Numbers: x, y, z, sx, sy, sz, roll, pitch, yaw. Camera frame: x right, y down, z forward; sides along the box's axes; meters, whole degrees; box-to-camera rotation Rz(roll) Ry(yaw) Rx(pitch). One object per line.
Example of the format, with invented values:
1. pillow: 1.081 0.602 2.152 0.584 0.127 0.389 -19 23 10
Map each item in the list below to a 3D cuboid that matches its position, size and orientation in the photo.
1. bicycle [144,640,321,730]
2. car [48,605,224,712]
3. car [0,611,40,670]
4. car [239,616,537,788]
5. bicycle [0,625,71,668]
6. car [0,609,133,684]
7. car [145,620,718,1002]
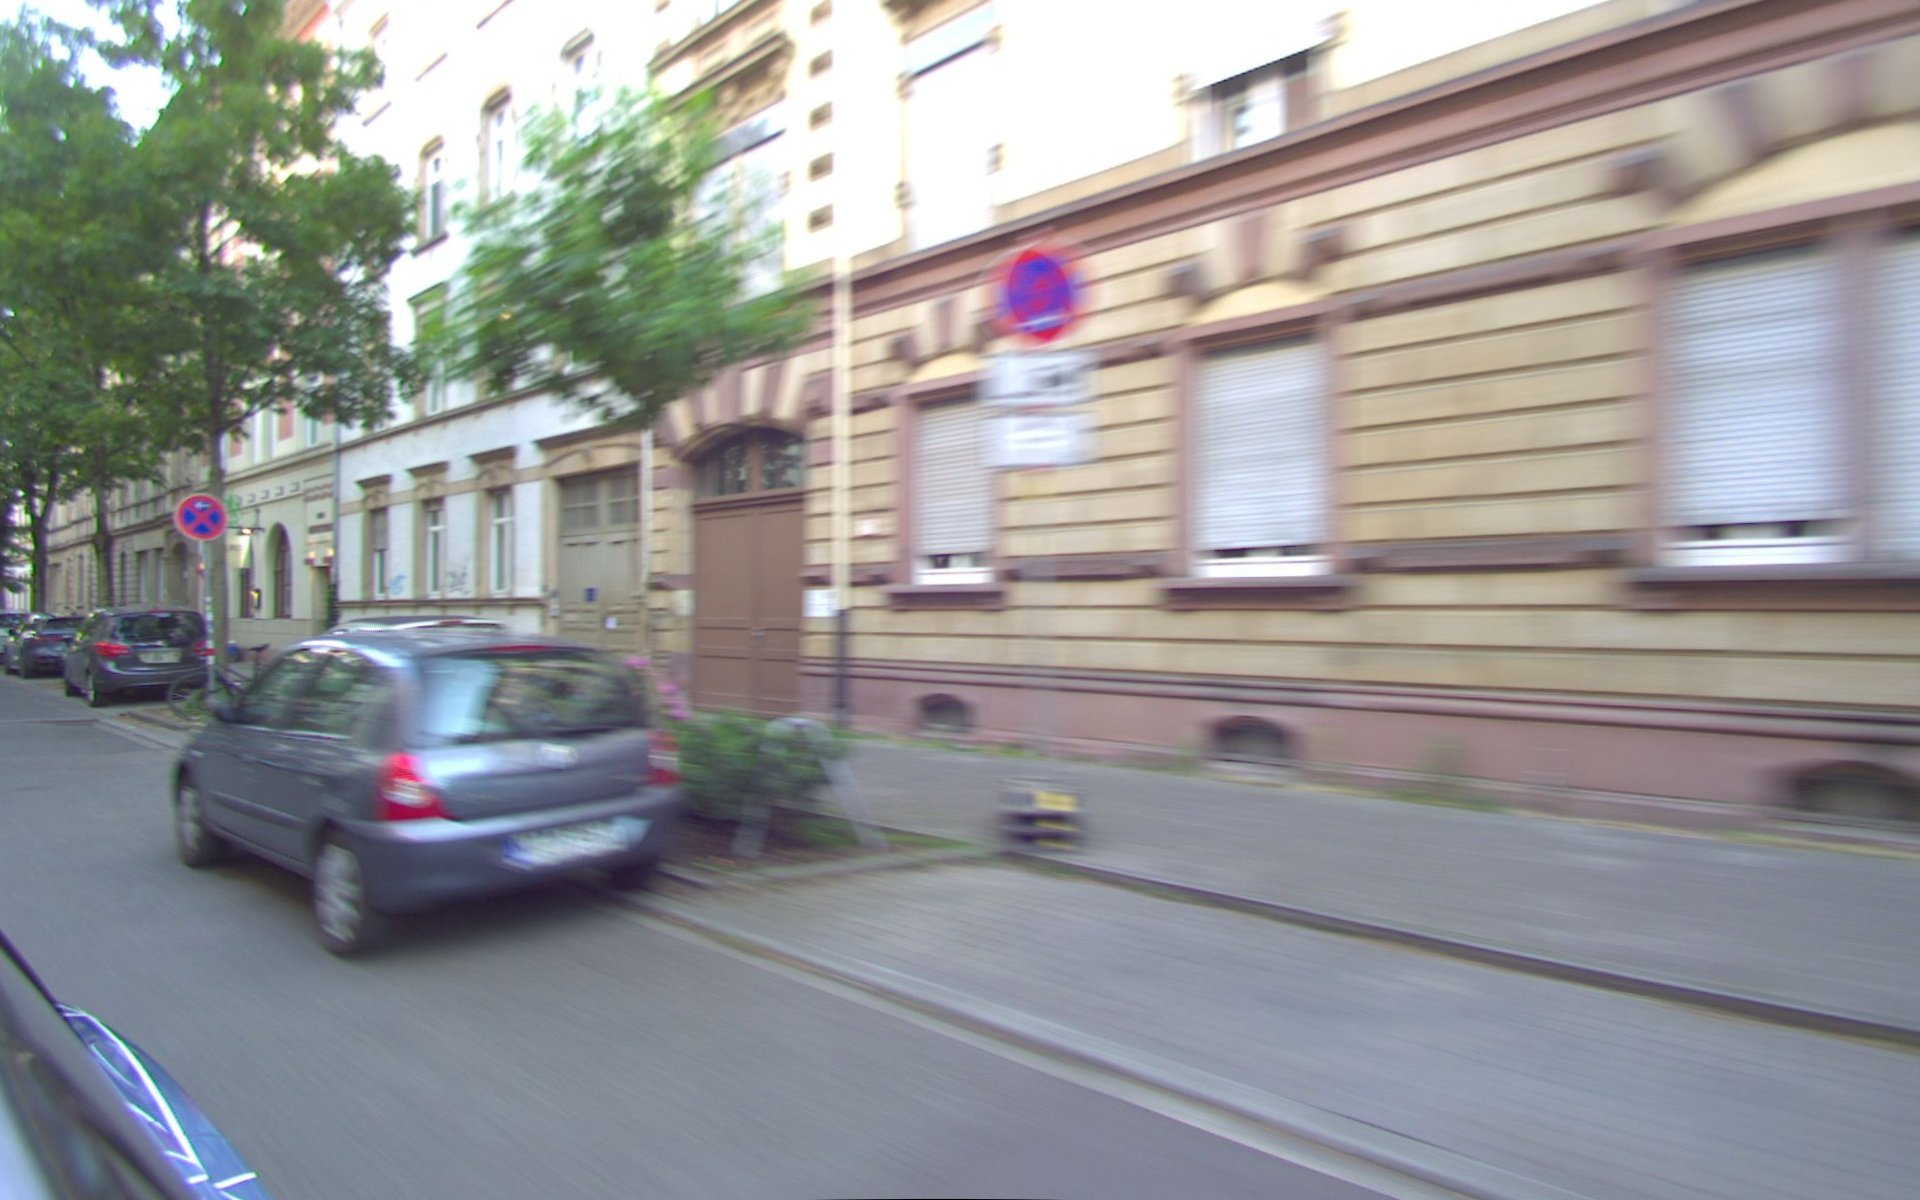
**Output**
1. bicycle: -9.560 1.101 13.349 1.799 1.093 0.669 0 1 -6
2. car: -14.301 0.936 17.493 4.076 1.592 1.689 -1 0 41
3. car: -28.414 1.174 29.766 3.861 1.619 1.658 -1 0 43
4. car: -6.075 0.920 10.604 3.563 1.447 1.571 -1 1 40
5. bicycle: -24.767 1.228 26.869 0.430 1.011 1.666 -1 2 42
6. car: -20.919 1.016 23.544 4.682 1.529 1.787 -1 1 41
7. car: -3.143 0.838 5.686 3.750 1.431 1.564 -1 -1 40
